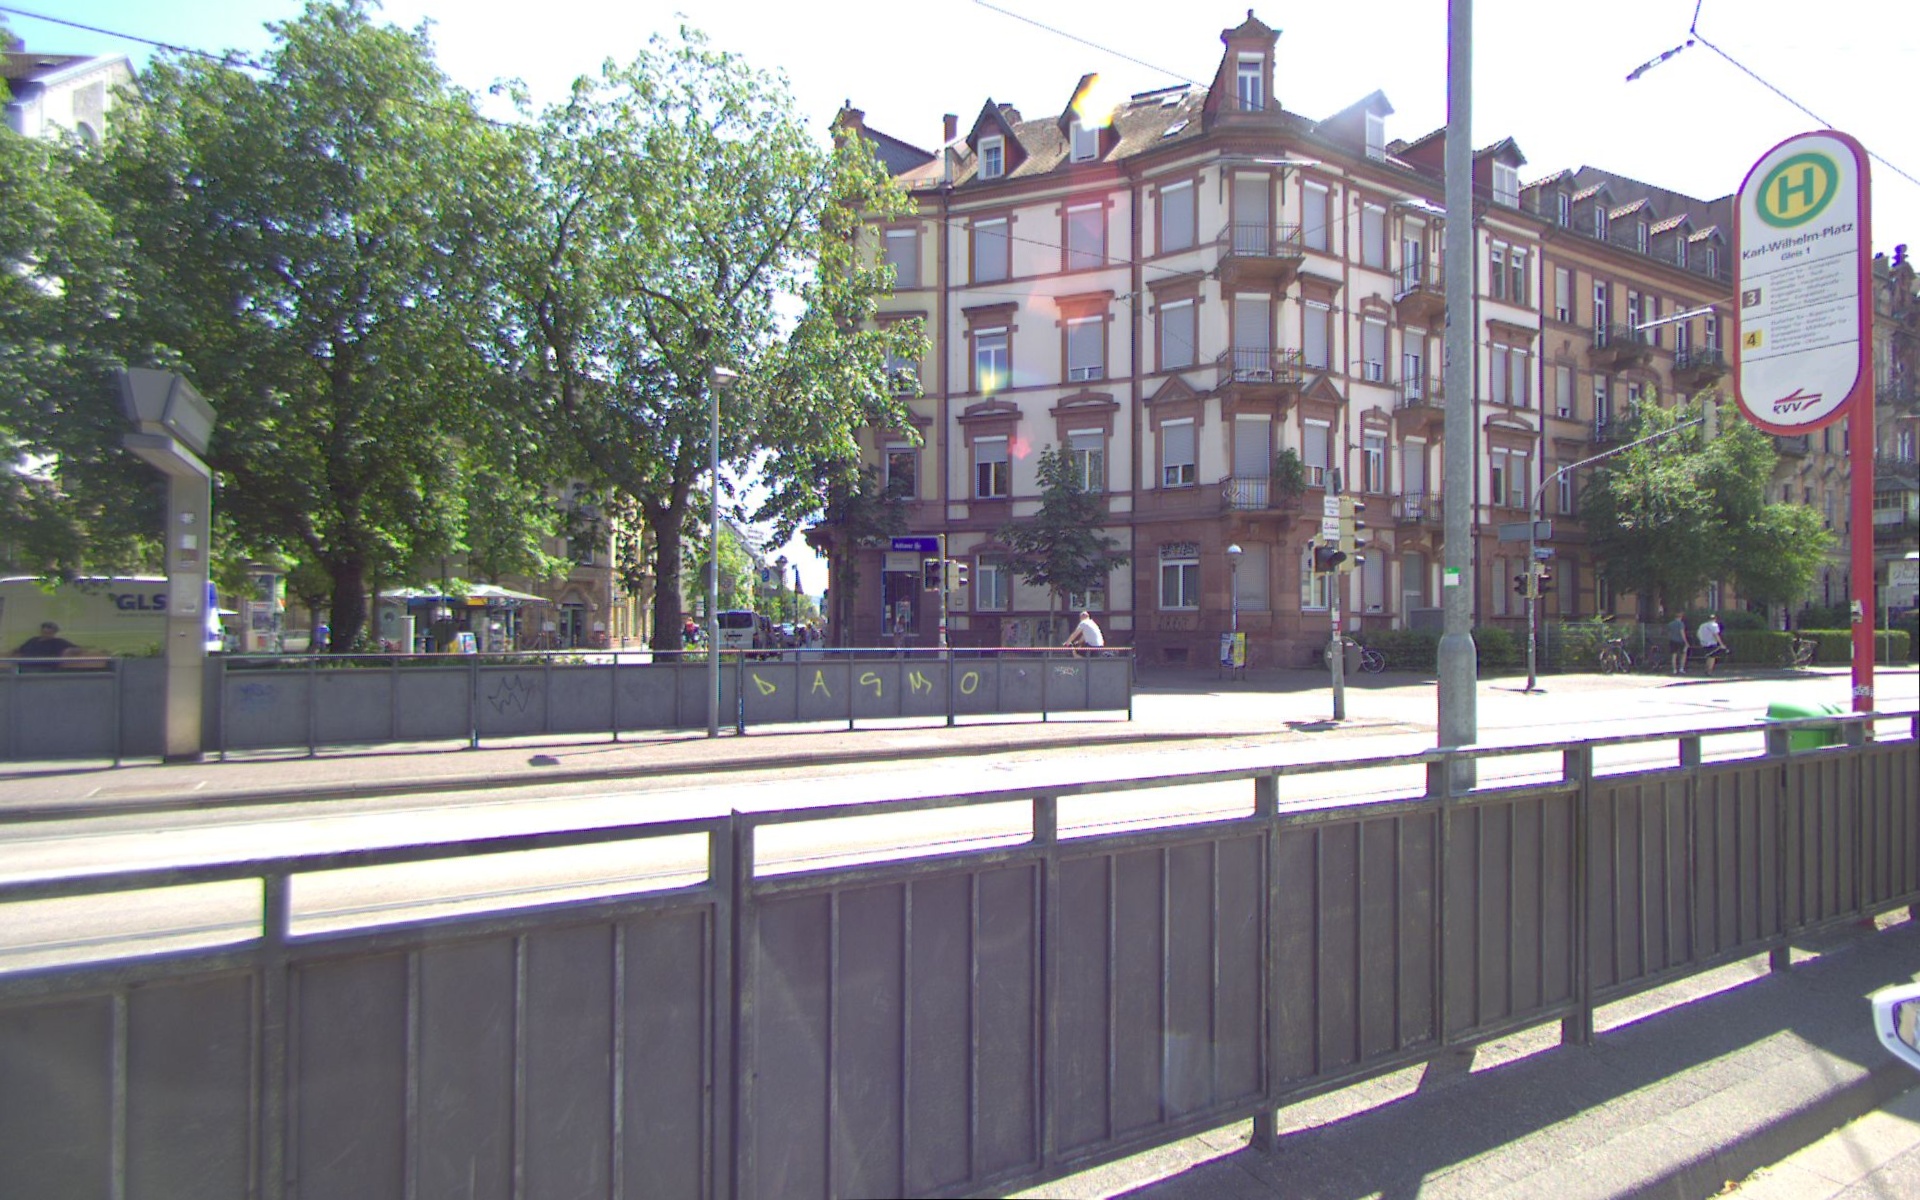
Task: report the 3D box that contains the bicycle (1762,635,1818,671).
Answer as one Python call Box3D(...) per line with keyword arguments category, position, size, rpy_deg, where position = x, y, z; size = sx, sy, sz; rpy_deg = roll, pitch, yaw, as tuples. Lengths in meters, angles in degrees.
Box3D(category="bicycle", position=(28.518, 1.797, 34.495), size=(2.750, 1.151, 0.930), rpy_deg=(2, 0, -39))

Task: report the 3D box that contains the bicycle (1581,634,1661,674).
Box3D(category="bicycle", position=(20.228, 1.641, 30.717), size=(2.742, 1.151, 0.932), rpy_deg=(2, 0, -31))

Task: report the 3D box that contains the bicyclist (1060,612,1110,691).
Box3D(category="bicyclist", position=(2.649, 1.077, 21.274), size=(0.834, 1.613, 0.699), rpy_deg=(0, -1, 27))

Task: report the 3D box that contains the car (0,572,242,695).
Box3D(category="car", position=(-20.538, 0.755, 23.364), size=(5.738, 2.709, 2.264), rpy_deg=(2, 0, -19))

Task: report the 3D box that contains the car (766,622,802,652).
Box3D(category="car", position=(-10.374, 2.179, 59.453), size=(1.684, 1.617, 3.998), rpy_deg=(2, 0, -4))

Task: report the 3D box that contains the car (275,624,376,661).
Box3D(category="car", position=(-32.077, 2.164, 50.889), size=(3.920, 1.730, 1.761), rpy_deg=(2, 0, -14))

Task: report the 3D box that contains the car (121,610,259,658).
Box3D(category="car", position=(-31.189, 1.372, 40.814), size=(3.932, 1.814, 1.994), rpy_deg=(2, 0, -14))

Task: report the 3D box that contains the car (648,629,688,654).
Box3D(category="car", position=(-20.661, 2.921, 71.162), size=(1.846, 1.617, 3.998), rpy_deg=(2, 0, -4))

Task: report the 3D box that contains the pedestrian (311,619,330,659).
Box3D(category="pedestrian", position=(-27.243, 1.648, 42.822), size=(0.506, 1.692, 0.491), rpy_deg=(0, -1, -8))

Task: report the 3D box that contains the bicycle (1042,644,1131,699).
Box3D(category="bicycle", position=(2.675, 1.501, 21.257), size=(1.734, 1.070, 0.699), rpy_deg=(0, -1, 27))

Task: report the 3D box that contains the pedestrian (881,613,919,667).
Box3D(category="pedestrian", position=(-1.902, 1.273, 32.015), size=(1.041, 1.712, 0.723), rpy_deg=(0, -1, 16))

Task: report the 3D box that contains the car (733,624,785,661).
Box3D(category="car", position=(-9.626, 2.012, 48.288), size=(1.893, 1.541, 3.998), rpy_deg=(2, 0, -4))

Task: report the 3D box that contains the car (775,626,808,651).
Box3D(category="car", position=(-12.485, 2.846, 74.757), size=(1.962, 1.617, 3.998), rpy_deg=(2, 0, -4))

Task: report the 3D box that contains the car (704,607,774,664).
Box3D(category="car", position=(-8.329, 1.300, 38.216), size=(1.962, 1.970, 3.998), rpy_deg=(2, 0, -4))

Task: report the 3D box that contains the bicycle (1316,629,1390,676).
Box3D(category="bicycle", position=(11.665, 1.555, 29.863), size=(1.923, 1.312, 0.564), rpy_deg=(2, 0, 11))

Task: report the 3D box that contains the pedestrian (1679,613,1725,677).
Box3D(category="pedestrian", position=(22.185, 1.330, 30.035), size=(0.862, 1.847, 0.813), rpy_deg=(0, 1, -27))

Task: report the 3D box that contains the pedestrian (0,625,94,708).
Box3D(category="pedestrian", position=(-14.659, 1.045, 16.104), size=(0.925, 1.261, 0.860), rpy_deg=(2, 0, -24))

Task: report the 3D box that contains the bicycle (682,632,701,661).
Box3D(category="bicycle", position=(-11.817, 2.029, 44.219), size=(0.637, 1.188, 1.923), rpy_deg=(1, -1, -11))

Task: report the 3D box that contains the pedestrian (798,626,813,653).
Box3D(category="pedestrian", position=(-9.181, 2.351, 59.763), size=(0.790, 1.632, 0.731), rpy_deg=(0, -1, -4))

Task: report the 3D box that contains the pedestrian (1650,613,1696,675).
Box3D(category="pedestrian", position=(21.790, 1.326, 30.705), size=(0.862, 1.847, 0.813), rpy_deg=(0, 1, -27))

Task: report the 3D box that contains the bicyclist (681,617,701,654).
Box3D(category="bicyclist", position=(-11.851, 1.560, 44.276), size=(0.710, 1.582, 0.897), rpy_deg=(1, -1, -10))
